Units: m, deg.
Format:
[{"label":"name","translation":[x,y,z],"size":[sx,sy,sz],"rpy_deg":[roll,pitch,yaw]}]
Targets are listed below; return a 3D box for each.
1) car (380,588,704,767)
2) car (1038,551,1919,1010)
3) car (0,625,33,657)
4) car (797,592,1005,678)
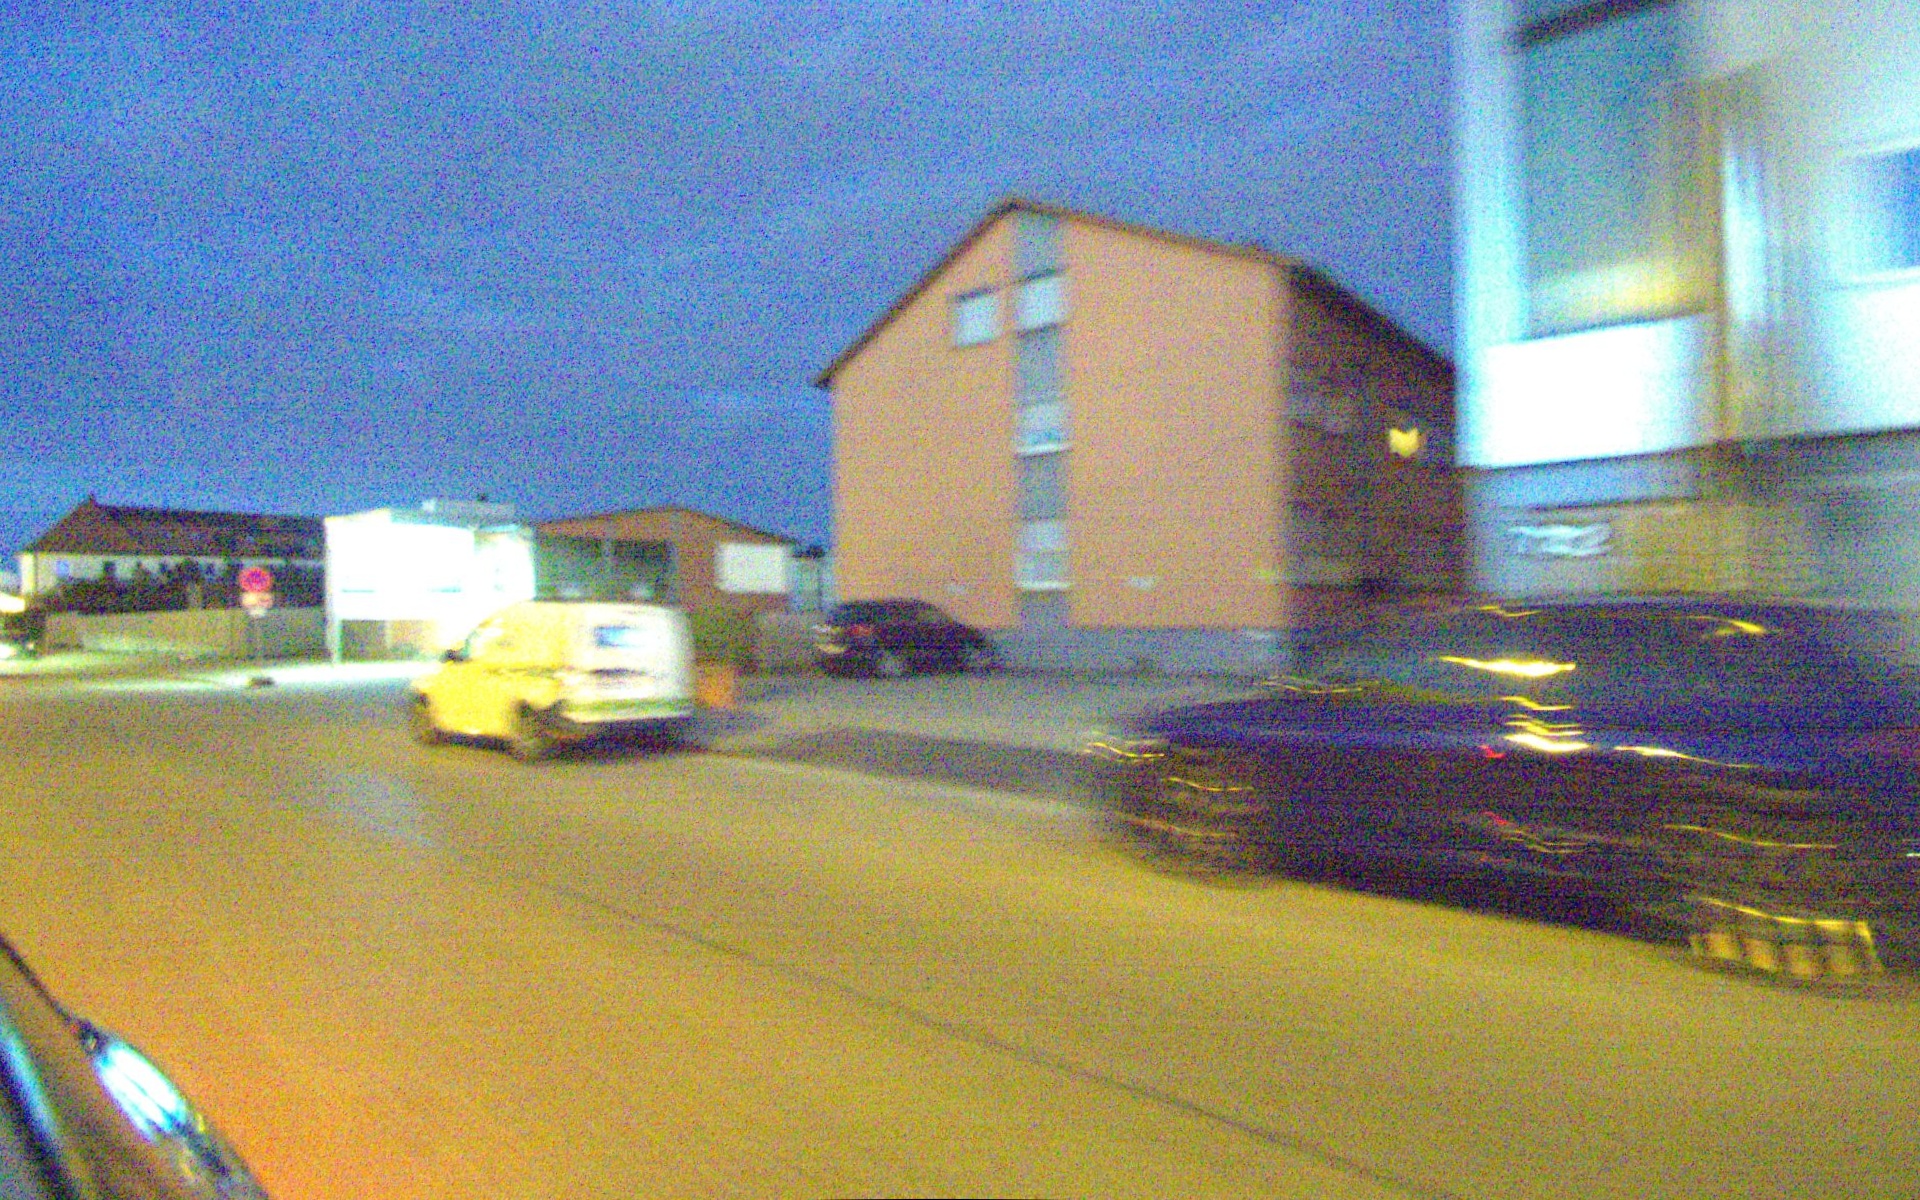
[{"label":"car","translation":[-5.343,0.831,12.558],"size":[4.876,1.812,1.785],"rpy_deg":[-2,-1,42]},{"label":"car","translation":[2.941,0.703,5.565],"size":[4.813,1.701,1.927],"rpy_deg":[-2,-1,41]},{"label":"car","translation":[-44.895,1.906,47.458],"size":[4.308,1.401,1.737],"rpy_deg":[-2,-1,43]},{"label":"car","translation":[-1.181,0.702,21.865],"size":[1.922,1.666,4.351],"rpy_deg":[-2,-1,43]}]
